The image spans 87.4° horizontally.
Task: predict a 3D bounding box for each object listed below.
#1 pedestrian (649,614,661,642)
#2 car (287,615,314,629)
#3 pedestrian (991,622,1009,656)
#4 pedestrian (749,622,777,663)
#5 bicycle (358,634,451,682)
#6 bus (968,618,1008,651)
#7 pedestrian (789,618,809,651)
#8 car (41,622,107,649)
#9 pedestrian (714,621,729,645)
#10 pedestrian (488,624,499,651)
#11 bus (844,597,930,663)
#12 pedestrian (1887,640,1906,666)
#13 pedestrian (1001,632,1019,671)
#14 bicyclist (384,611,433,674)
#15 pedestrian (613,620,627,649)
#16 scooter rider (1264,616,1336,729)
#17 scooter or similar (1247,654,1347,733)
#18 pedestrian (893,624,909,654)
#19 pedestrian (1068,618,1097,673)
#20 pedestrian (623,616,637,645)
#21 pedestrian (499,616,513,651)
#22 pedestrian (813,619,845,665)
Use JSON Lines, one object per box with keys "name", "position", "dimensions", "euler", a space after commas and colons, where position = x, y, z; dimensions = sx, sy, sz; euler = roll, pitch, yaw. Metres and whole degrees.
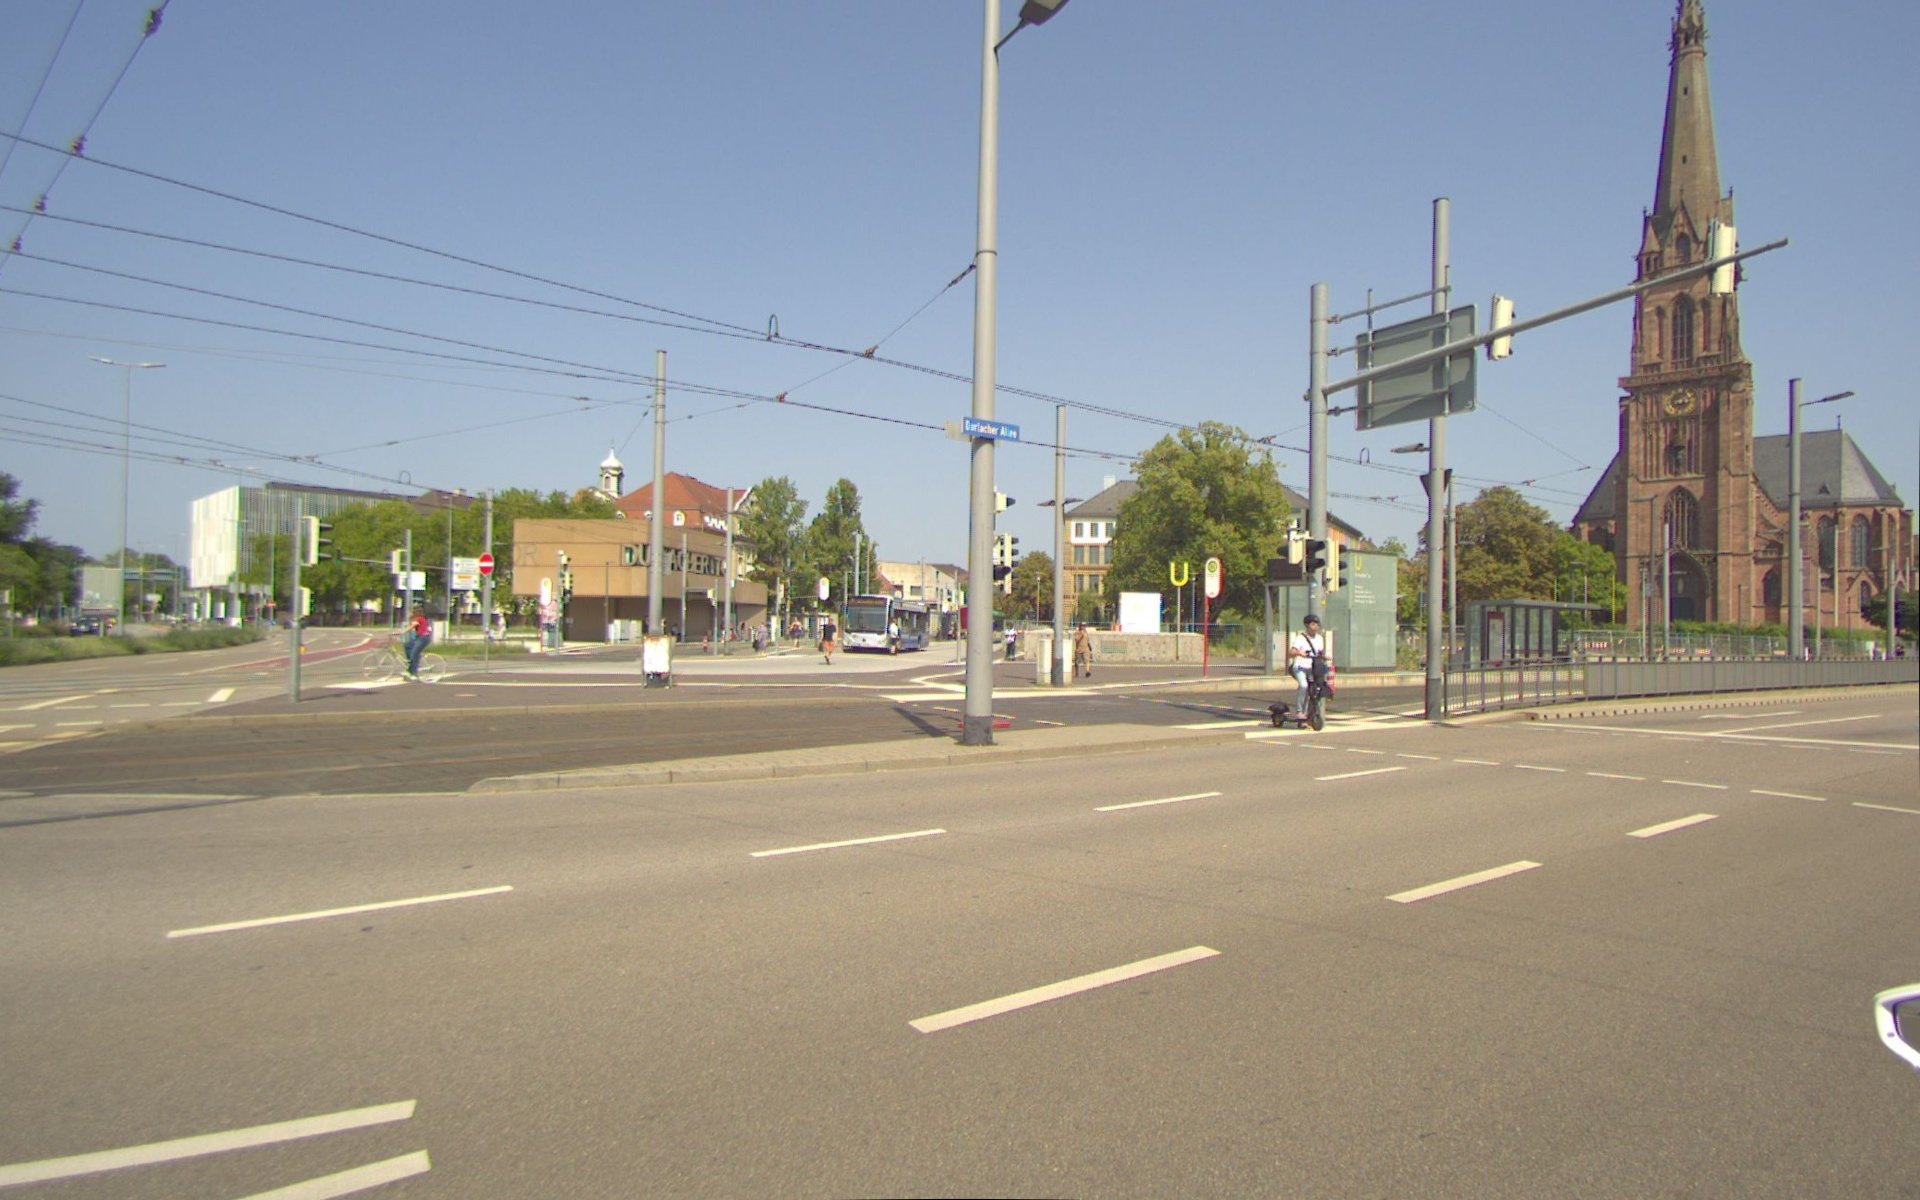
{"name": "pedestrian", "position": [-18.214, 1.669, 60.005], "dimensions": [0.565, 1.667, 0.507], "euler": [-1, 0, -32]}
{"name": "car", "position": [-78.264, 2.630, 119.256], "dimensions": [1.877, 1.675, 4.629], "euler": [1, -2, -24]}
{"name": "pedestrian", "position": [1.895, 1.835, 47.541], "dimensions": [0.769, 1.569, 0.679], "euler": [2, -1, 5]}
{"name": "pedestrian", "position": [-8.899, 1.927, 45.377], "dimensions": [0.949, 1.803, 0.779], "euler": [3, -2, -32]}
{"name": "bicycle", "position": [-13.235, 1.375, 23.944], "dimensions": [1.891, 1.083, 0.609], "euler": [2, -2, -32]}
{"name": "bus", "position": [3.013, 3.414, 102.941], "dimensions": [2.490, 3.072, 12.443], "euler": [-1, 0, 9]}
{"name": "pedestrian", "position": [-8.985, 1.899, 55.971], "dimensions": [0.776, 1.803, 0.952], "euler": [3, -2, -29]}
{"name": "car", "position": [-63.547, 2.501, 72.127], "dimensions": [1.967, 1.818, 3.987], "euler": [-1, 0, -15]}
{"name": "pedestrian", "position": [-17.338, 2.400, 73.049], "dimensions": [0.779, 1.702, 0.856], "euler": [-1, 0, 11]}
{"name": "pedestrian", "position": [-24.522, 1.984, 52.837], "dimensions": [0.457, 1.393, 0.346], "euler": [2, -2, -36]}
{"name": "bus", "position": [-3.951, 1.728, 58.233], "dimensions": [2.623, 3.375, 12.767], "euler": [1, -2, 6]}
{"name": "pedestrian", "position": [65.304, 3.705, 70.065], "dimensions": [0.713, 1.774, 0.824], "euler": [3, -2, -34]}
{"name": "pedestrian", "position": [2.272, 2.312, 45.489], "dimensions": [0.768, 1.751, 0.679], "euler": [1, -1, 5]}
{"name": "bicyclist", "position": [-13.169, 1.010, 23.988], "dimensions": [0.969, 1.479, 0.870], "euler": [2, -2, -31]}
{"name": "pedestrian", "position": [-19.870, 2.009, 58.718], "dimensions": [0.566, 1.698, 0.588], "euler": [-1, 0, 11]}
{"name": "scooter rider", "position": [5.301, 1.108, 15.648], "dimensions": [0.772, 1.695, 0.765], "euler": [2, -2, -39]}
{"name": "scooter or similar", "position": [5.260, 1.434, 15.735], "dimensions": [0.703, 1.163, 1.328], "euler": [2, -3, -37]}
{"name": "pedestrian", "position": [-3.030, 2.004, 51.484], "dimensions": [0.588, 1.548, 0.577], "euler": [1, -2, 22]}
{"name": "pedestrian", "position": [3.834, 1.409, 31.394], "dimensions": [0.565, 1.681, 0.798], "euler": [0, 0, 37]}
{"name": "pedestrian", "position": [-19.599, 1.814, 59.658], "dimensions": [0.566, 1.698, 0.588], "euler": [-1, 0, 11]}
{"name": "pedestrian", "position": [-24.098, 1.787, 53.307], "dimensions": [0.555, 1.840, 0.555], "euler": [2, -2, -36]}
{"name": "pedestrian", "position": [-5.238, 1.678, 40.121], "dimensions": [0.949, 1.803, 0.779], "euler": [3, -2, -32]}
